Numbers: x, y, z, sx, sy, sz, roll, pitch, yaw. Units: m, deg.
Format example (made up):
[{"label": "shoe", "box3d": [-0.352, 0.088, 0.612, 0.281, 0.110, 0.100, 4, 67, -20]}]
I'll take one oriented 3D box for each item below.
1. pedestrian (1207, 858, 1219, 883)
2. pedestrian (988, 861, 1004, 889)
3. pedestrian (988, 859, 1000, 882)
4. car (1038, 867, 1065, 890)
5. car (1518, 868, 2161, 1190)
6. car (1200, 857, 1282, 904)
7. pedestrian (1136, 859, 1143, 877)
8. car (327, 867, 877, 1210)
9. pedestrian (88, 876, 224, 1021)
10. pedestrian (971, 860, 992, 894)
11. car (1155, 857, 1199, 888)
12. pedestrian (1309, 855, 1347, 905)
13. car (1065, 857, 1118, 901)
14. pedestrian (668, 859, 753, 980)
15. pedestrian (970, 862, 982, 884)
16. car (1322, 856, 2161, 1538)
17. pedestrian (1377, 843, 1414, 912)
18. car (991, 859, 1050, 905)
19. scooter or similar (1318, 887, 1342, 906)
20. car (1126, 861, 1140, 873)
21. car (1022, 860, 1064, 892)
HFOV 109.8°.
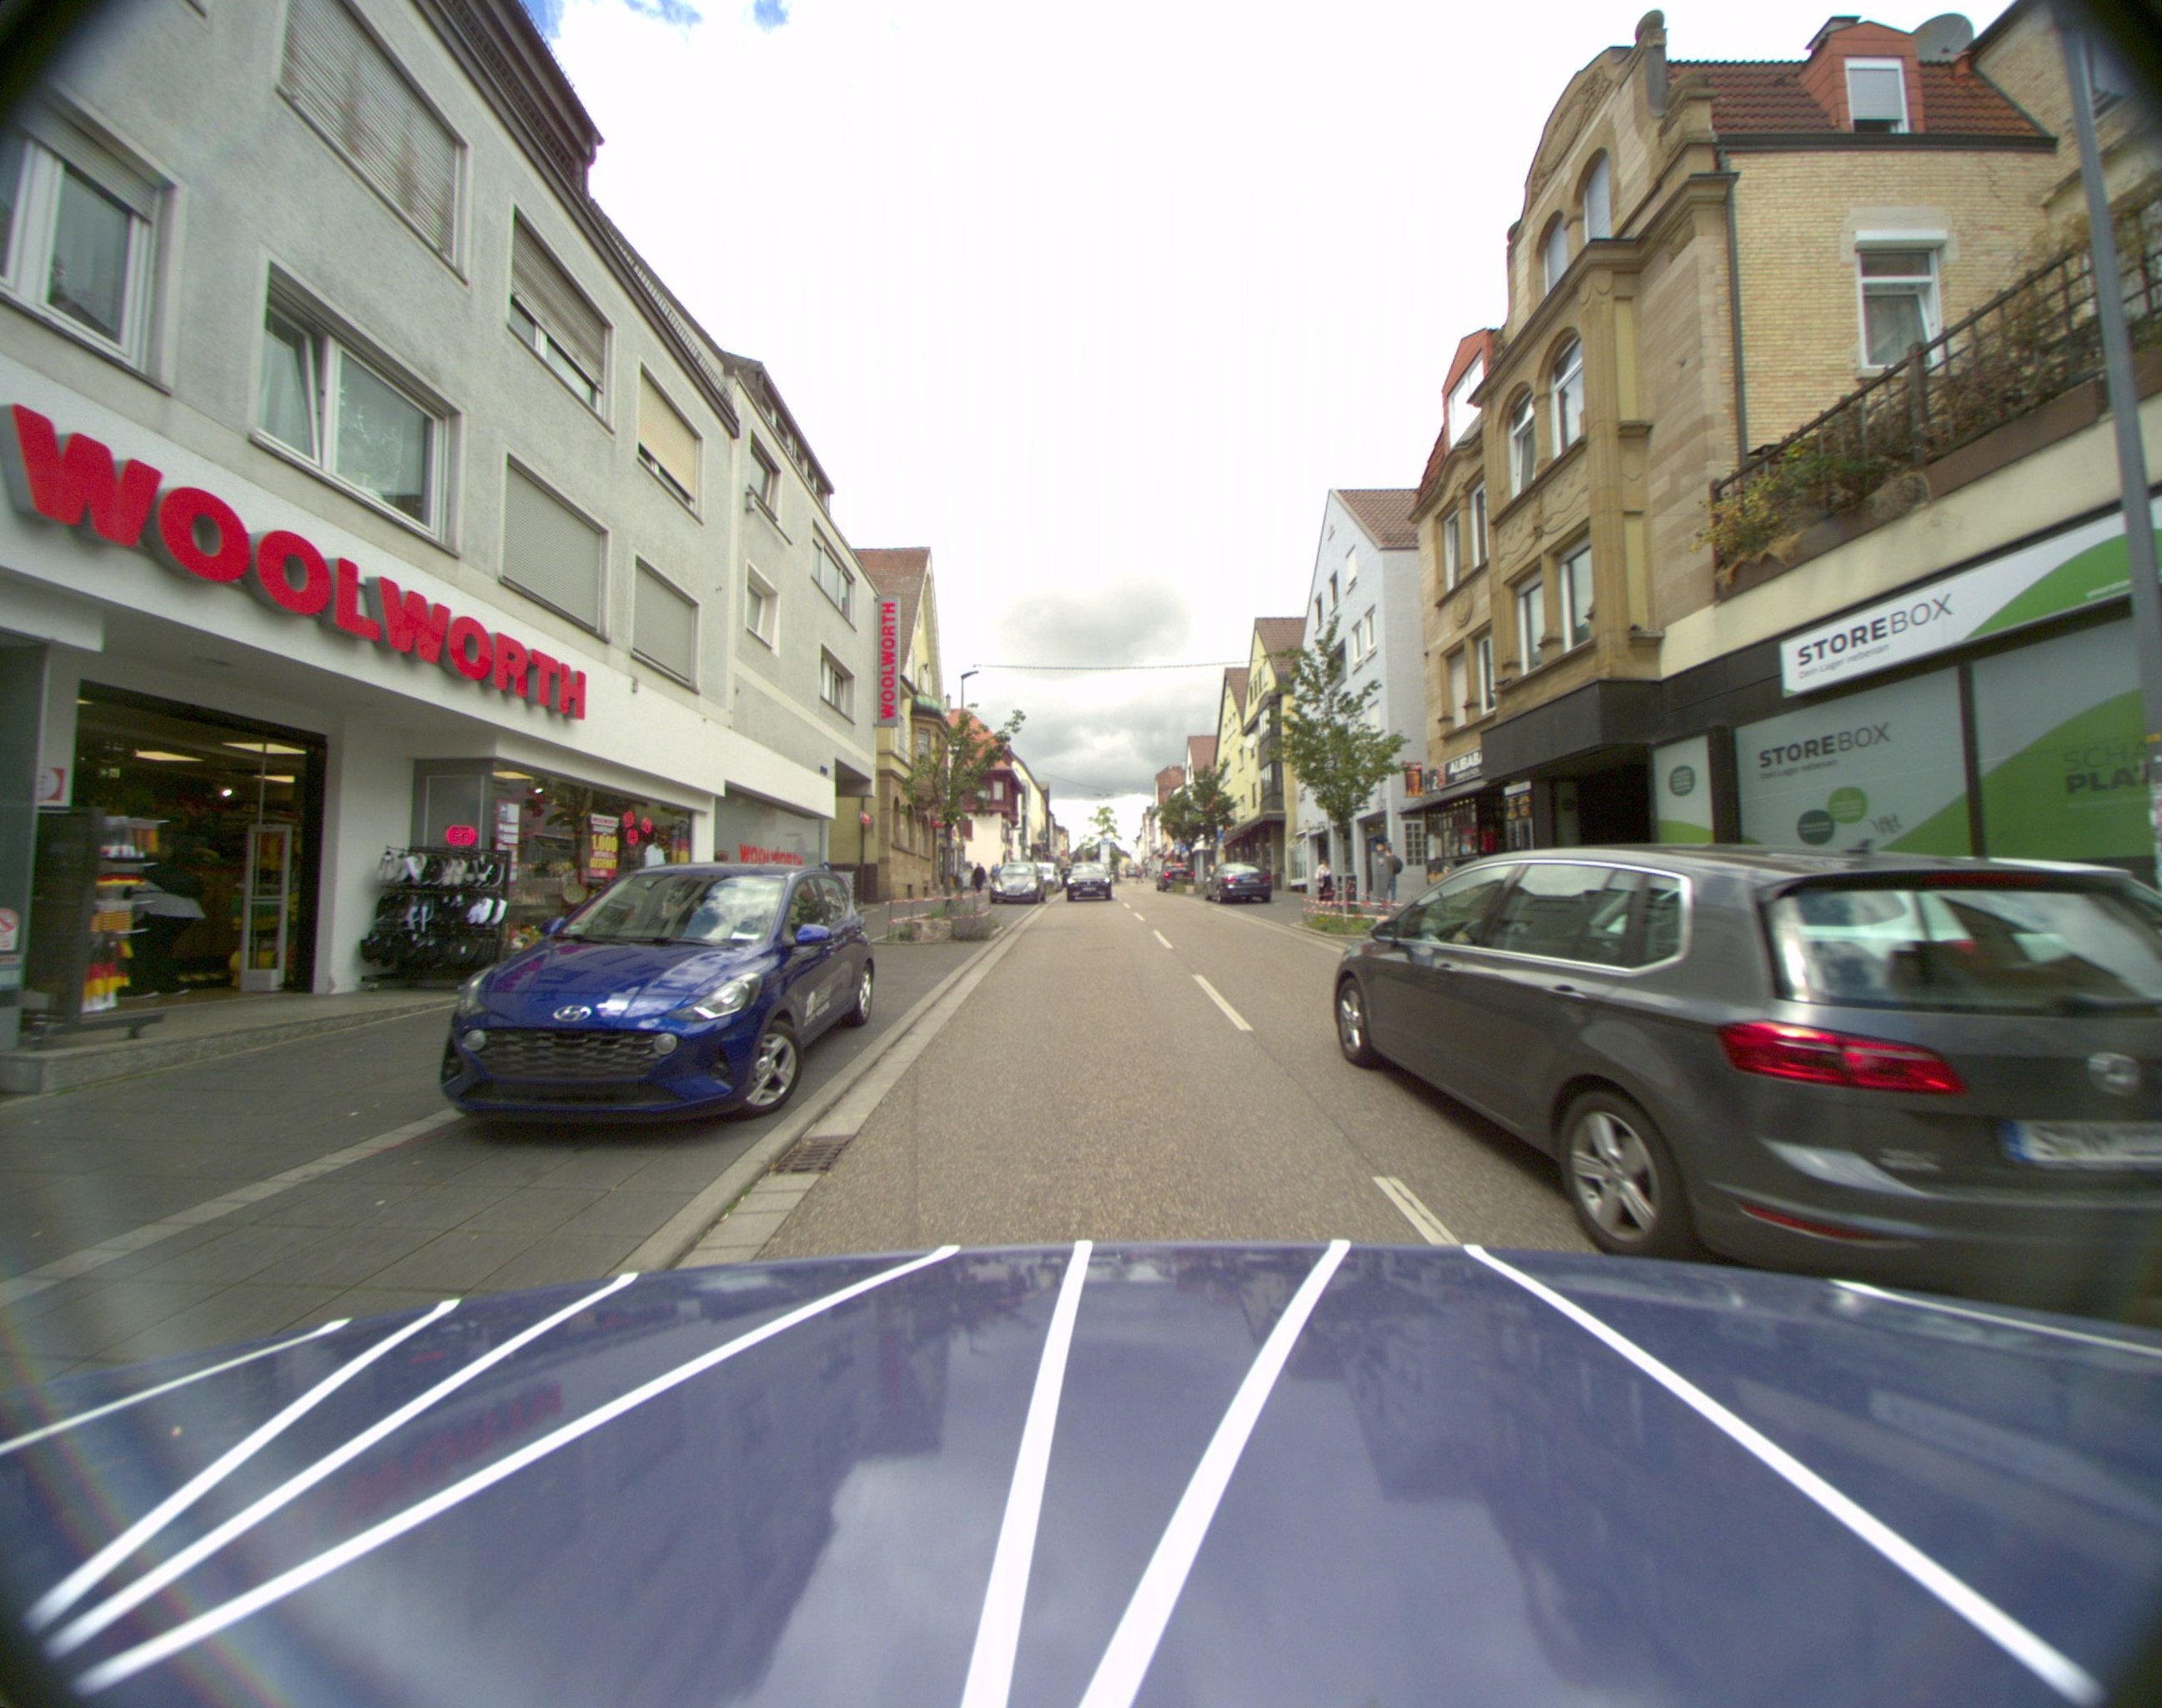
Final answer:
[{"label": "pedestrian", "box3d": [9.182, 1.128, 52.877, 0.638, 1.728, 0.836, 1, 0, -2]}, {"label": "pedestrian", "box3d": [-5.206, 1.266, 46.621, 0.798, 1.717, 1.053, 0, 0, 1]}, {"label": "pedestrian", "box3d": [-6.839, 1.273, 59.754, 0.776, 1.758, 0.818, -1, 0, 2]}, {"label": "car", "box3d": [-1.899, 1.593, 49.895, 1.707, 1.459, 4.000, 0, -1, -2]}, {"label": "car", "box3d": [5.646, 0.909, 5.929, 1.931, 1.502, 4.262, -3, -1, -1]}, {"label": "car", "box3d": [5.806, 0.926, 28.191, 1.931, 1.483, 4.843, -3, -1, -1]}, {"label": "pedestrian", "box3d": [5.739, 1.382, 74.311, 0.696, 1.729, 0.825, 0, -1, 3]}, {"label": "car", "box3d": [-2.751, 0.916, 5.484, 1.753, 1.489, 3.798, 2, 1, -4]}, {"label": "pedestrian", "box3d": [-8.475, 0.839, 6.982, 0.506, 1.258, 0.588, -1, 0, -4]}, {"label": "pedestrian", "box3d": [-4.849, 1.117, 36.901, 0.825, 1.656, 0.802, -1, 0, 7]}, {"label": "car", "box3d": [5.688, 1.137, 45.529, 2.012, 1.683, 4.608, -2, -2, 0]}, {"label": "pedestrian", "box3d": [7.436, 0.774, 22.901, 0.828, 1.455, 0.810, -3, 0, 0]}, {"label": "car", "box3d": [0.381, 0.987, 31.664, 1.914, 1.559, 4.372, -4, 0, -1]}, {"label": "pedestrian", "box3d": [-4.936, 0.849, 10.175, 0.758, 1.551, 0.817, 0, 0, -2]}, {"label": "pedestrian", "box3d": [-8.062, 1.437, 58.368, 0.774, 1.635, 0.870, 0, 0, 7]}, {"label": "car", "box3d": [2.821, 0.840, 3.886, 1.823, 1.608, 4.135, 1, 0, 0]}, {"label": "pedestrian", "box3d": [8.094, 0.598, 19.575, 0.588, 1.703, 0.710, -3, 0, 0]}, {"label": "car", "box3d": [-2.249, 1.032, 29.168, 1.752, 1.598, 3.801, 1, -1, 3]}, {"label": "scooter or similar", "box3d": [7.643, 1.305, 23.363, 0.526, 0.516, 0.573, -3, 0, 0]}, {"label": "car", "box3d": [7.585, 1.897, 110.819, 1.968, 1.611, 4.356, 2, 0, 3]}, {"label": "car", "box3d": [-2.185, 1.277, 45.123, 1.881, 1.788, 4.734, -1, -1, 4]}]
